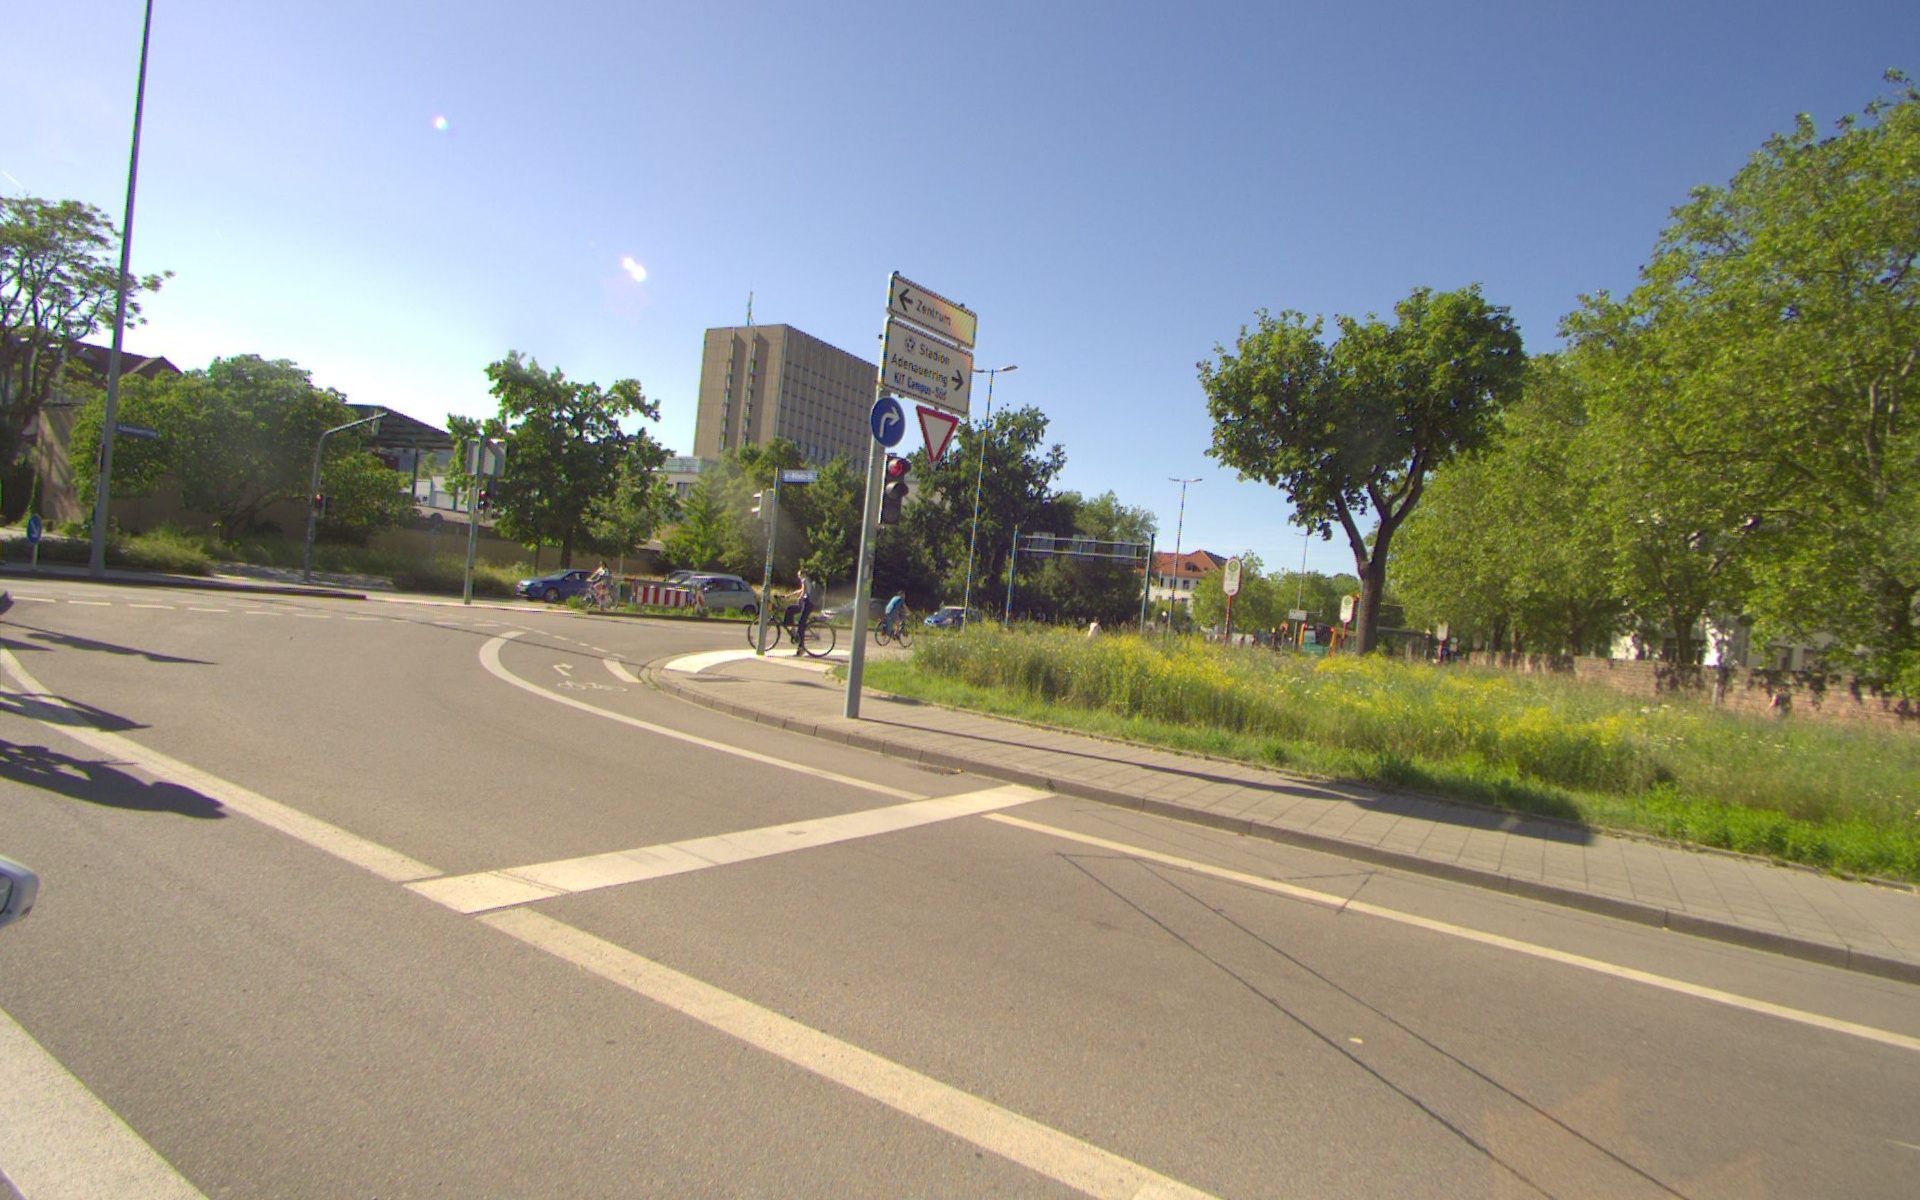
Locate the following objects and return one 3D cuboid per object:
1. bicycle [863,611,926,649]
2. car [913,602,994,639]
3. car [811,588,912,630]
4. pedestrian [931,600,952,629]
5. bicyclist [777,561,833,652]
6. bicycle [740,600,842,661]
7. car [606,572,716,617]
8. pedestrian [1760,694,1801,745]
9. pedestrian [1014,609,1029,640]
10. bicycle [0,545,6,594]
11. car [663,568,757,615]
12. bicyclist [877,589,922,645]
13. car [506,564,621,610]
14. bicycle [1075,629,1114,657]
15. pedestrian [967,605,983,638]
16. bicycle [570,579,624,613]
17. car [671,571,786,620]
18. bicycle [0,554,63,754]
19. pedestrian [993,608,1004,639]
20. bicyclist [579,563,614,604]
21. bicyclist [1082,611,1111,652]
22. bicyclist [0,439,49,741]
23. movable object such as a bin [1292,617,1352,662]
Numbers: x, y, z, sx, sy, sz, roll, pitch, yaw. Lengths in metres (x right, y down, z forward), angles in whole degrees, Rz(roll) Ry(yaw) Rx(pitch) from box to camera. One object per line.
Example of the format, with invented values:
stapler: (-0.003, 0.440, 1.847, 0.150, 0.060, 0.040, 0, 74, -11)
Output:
bicycle: (-1.901, 0.880, 29.433, 0.640, 0.986, 1.895, 7, 1, 39)
car: (-0.293, 1.049, 50.456, 1.916, 1.415, 3.986, 6, 0, 37)
car: (-4.308, 0.435, 44.629, 1.767, 1.415, 4.557, 7, 0, 37)
pedestrian: (-1.383, 1.069, 74.987, 0.752, 2.039, 1.267, 7, 1, 36)
bicyclist: (-3.037, 0.124, 19.705, 0.898, 1.667, 0.630, 6, 1, -9)
bicycle: (-3.291, 0.591, 19.677, 1.856, 0.970, 0.635, 7, 1, -10)
car: (-12.299, -0.201, 41.570, 1.767, 1.415, 3.986, 7, 0, 37)
pedestrian: (25.827, 3.754, 31.673, 0.712, 1.460, 0.523, 7, -1, 2)
pedestrian: (5.044, 1.997, 82.788, 0.710, 2.451, 0.585, 6, -1, 34)
bicycle: (-8.221, 0.021, 7.775, 1.890, 1.102, 0.690, 6, -1, 32)
car: (-11.842, -0.368, 47.796, 1.767, 1.771, 3.986, 7, 0, 37)
bicyclist: (-1.774, 0.505, 29.536, 0.632, 1.533, 1.049, 7, 2, 39)
car: (-16.210, -0.526, 41.318, 1.767, 1.415, 3.986, 7, 0, 37)
bicycle: (5.298, 1.700, 39.595, 0.514, 1.000, 1.965, 7, 1, 39)
pedestrian: (1.144, 1.676, 78.842, 0.660, 2.451, 0.770, 6, -1, 34)
bicycle: (-13.157, -0.131, 36.491, 0.602, 1.046, 1.681, 7, 0, 37)
car: (-8.739, -0.131, 38.289, 1.767, 1.415, 3.986, 7, 0, 37)
bicycle: (-6.315, 0.235, 6.122, 1.890, 1.102, 0.690, 6, -1, 32)
pedestrian: (3.128, 1.922, 81.307, 0.401, 2.451, 0.467, 6, -1, 34)
bicyclist: (-13.152, -0.584, 36.417, 0.602, 1.360, 0.874, 7, 1, 37)
bicyclist: (5.388, 1.236, 39.632, 0.509, 1.548, 1.067, 7, 2, 39)
bicyclist: (-6.334, -0.118, 6.165, 1.123, 1.813, 0.684, 7, 0, 32)
movable object such as a bin: (27.566, 3.070, 76.270, 2.954, 2.898, 9.178, 6, 0, 27)
